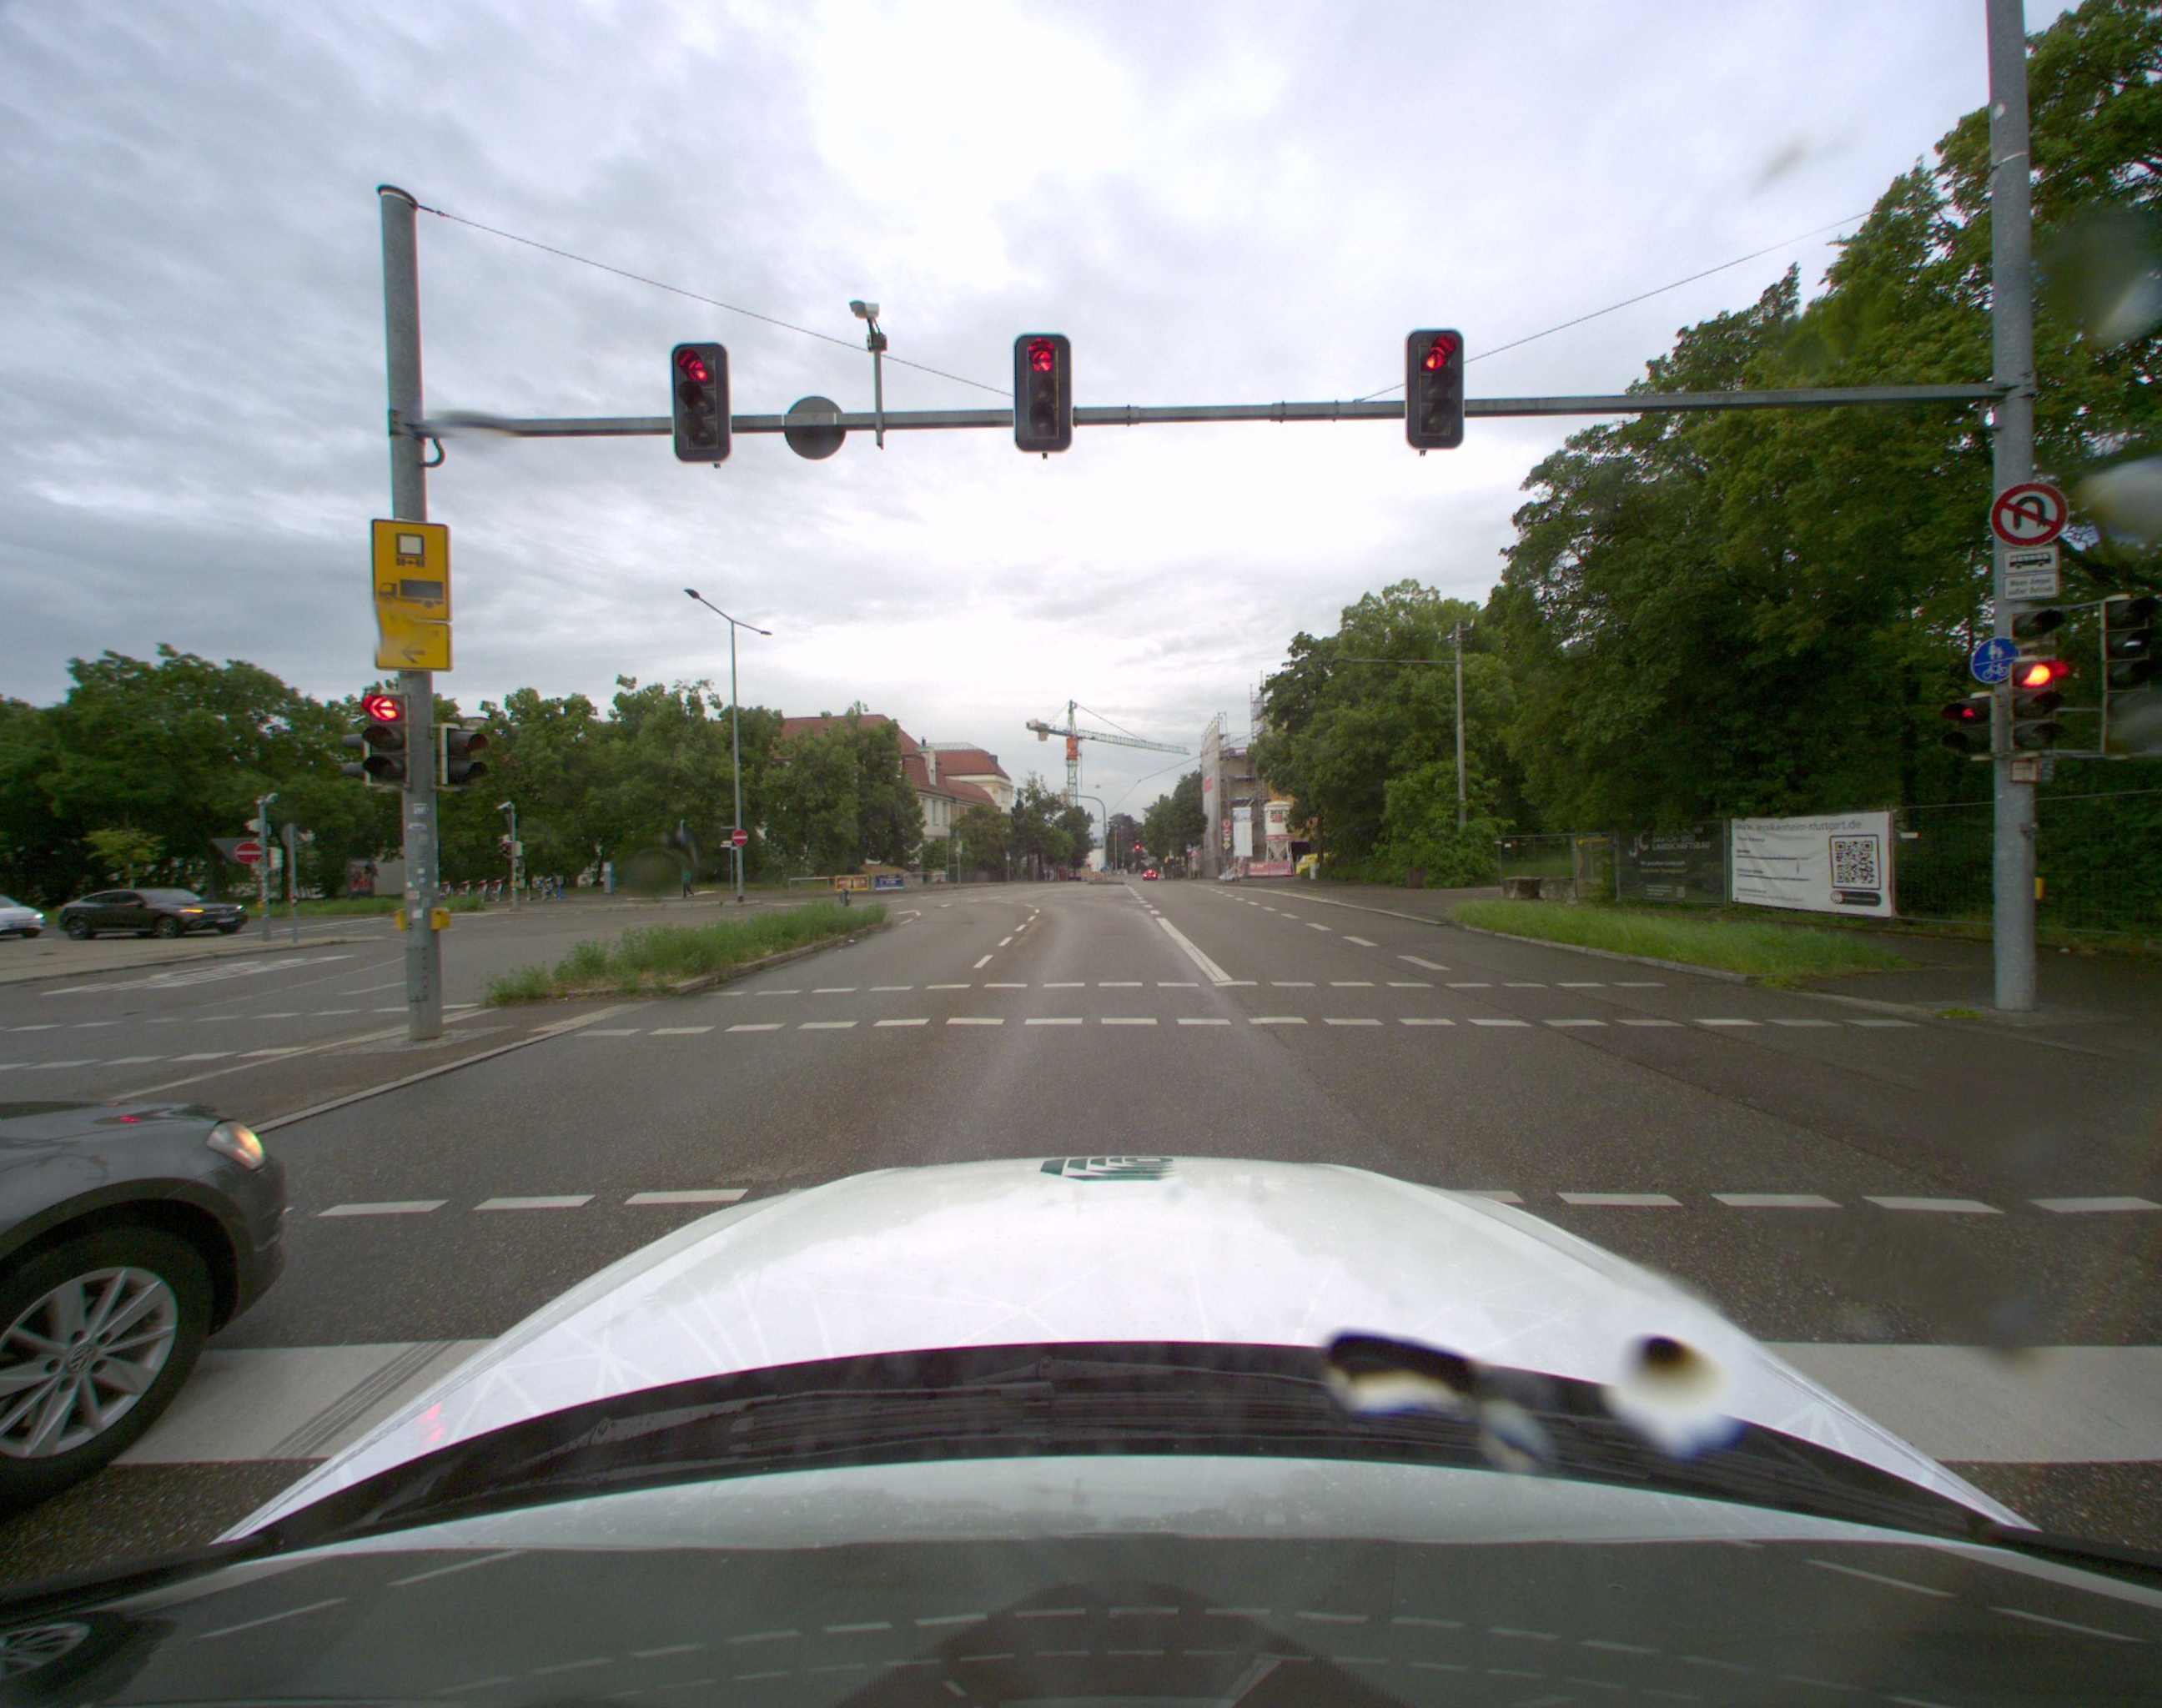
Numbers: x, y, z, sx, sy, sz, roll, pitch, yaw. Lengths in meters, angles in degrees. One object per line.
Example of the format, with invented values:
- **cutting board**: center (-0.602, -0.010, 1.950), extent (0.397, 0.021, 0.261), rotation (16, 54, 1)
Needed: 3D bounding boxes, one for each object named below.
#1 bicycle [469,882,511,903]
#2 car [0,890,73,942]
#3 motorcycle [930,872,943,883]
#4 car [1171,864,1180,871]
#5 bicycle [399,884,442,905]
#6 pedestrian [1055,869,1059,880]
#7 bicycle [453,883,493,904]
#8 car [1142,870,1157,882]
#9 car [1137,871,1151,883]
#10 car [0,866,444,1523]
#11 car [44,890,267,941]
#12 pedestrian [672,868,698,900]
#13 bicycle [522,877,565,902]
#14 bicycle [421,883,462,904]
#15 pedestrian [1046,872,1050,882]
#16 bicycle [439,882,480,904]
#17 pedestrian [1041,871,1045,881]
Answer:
- **bicycle**: center (-32.272, 2.069, 44.504), extent (0.798, 1.071, 1.982), rotation (0, -1, 2)
- **car**: center (-36.499, 2.038, 27.047), extent (3.539, 1.594, 2.001), rotation (0, -1, 1)
- **motorcycle**: center (-11.625, 1.903, 65.395), extent (0.846, 0.877, 0.877), rotation (0, -1, 1)
- **car**: center (25.510, 3.514, 218.936), extent (1.980, 1.750, 4.014), rotation (-2, 0, 13)
- **bicycle**: center (-35.967, 2.180, 44.363), extent (0.649, 1.071, 1.982), rotation (0, -1, 2)
- **pedestrian**: center (-3.592, 2.995, 121.177), extent (0.492, 1.645, 0.533), rotation (0, -1, -4)
- **bicycle**: center (-33.021, 2.121, 44.272), extent (0.649, 1.071, 1.982), rotation (0, -1, 2)
- **car**: center (10.465, 3.379, 124.575), extent (1.986, 1.750, 4.001), rotation (-2, 0, 1)
- **car**: center (10.210, 3.667, 131.420), extent (1.986, 1.750, 4.001), rotation (-2, 0, 1)
- **car**: center (-3.415, 0.805, 0.922), extent (1.809, 1.481, 4.378), rotation (-2, 0, 2)
- **car**: center (-30.078, 1.986, 26.583), extent (5.006, 1.500, 2.001), rotation (0, -1, 1)
- **pedestrian**: center (-21.667, 1.631, 44.601), extent (0.917, 1.727, 0.948), rotation (-1, -1, 8)
- **bicycle**: center (-29.439, 1.927, 44.612), extent (0.987, 1.249, 1.982), rotation (0, -1, 2)
- **bicycle**: center (-34.990, 2.144, 44.578), extent (0.649, 1.071, 1.982), rotation (0, -1, 2)
- **pedestrian**: center (-4.748, 3.250, 116.463), extent (0.473, 1.396, 0.411), rotation (-2, -1, 1)
- **bicycle**: center (-33.911, 2.117, 44.447), extent (0.649, 1.071, 1.982), rotation (0, -1, 2)
- **pedestrian**: center (-5.479, 3.208, 116.582), extent (0.473, 1.396, 0.411), rotation (-2, -1, 1)
